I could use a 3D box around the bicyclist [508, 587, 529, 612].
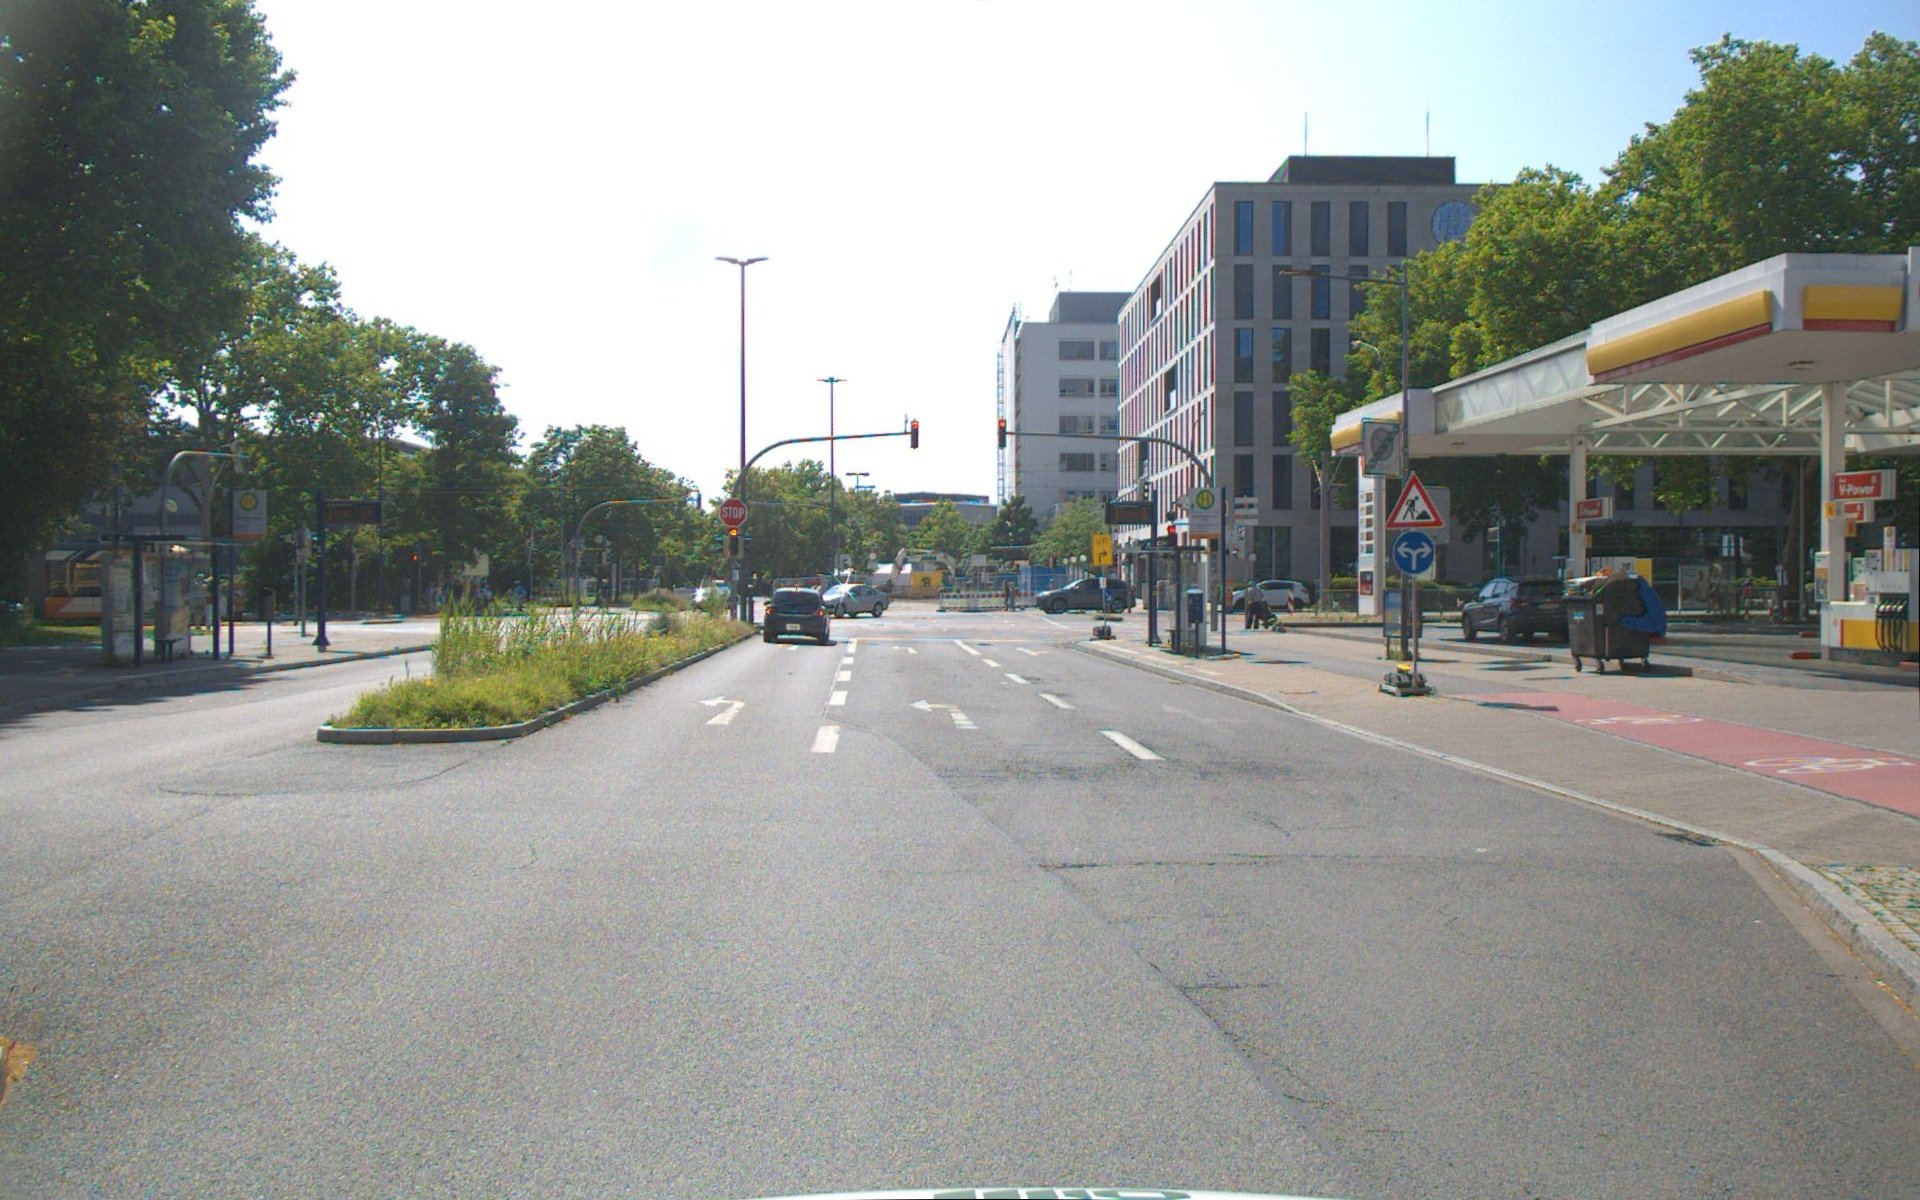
[{"bbox_3d":[-22.820,-0.028,85.426,1.034,1.297,0.491,0,0,-14],"label":"bicyclist"}]

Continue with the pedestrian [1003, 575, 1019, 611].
[{"bbox_3d":[2.966,-0.407,95.914,0.774,2.049,0.540,0,0,-13],"label":"pedestrian"}]

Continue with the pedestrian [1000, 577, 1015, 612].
[{"bbox_3d":[2.757,-0.342,96.633,0.774,2.049,0.540,0,0,-13],"label":"pedestrian"}]

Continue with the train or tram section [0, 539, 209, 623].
[{"bbox_3d":[-35.634,-0.787,68.696,7.407,3.390,3.116,0,0,-5],"label":"train or tram section"}]

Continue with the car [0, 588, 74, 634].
[{"bbox_3d":[-29.950,0.335,51.893,3.431,1.401,1.636,0,0,-6],"label":"car"}]

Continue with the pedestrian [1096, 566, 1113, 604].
[{"bbox_3d":[8.035,-0.835,91.953,0.762,2.049,0.776,0,0,25],"label":"pedestrian"}]

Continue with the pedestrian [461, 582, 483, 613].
[{"bbox_3d":[-25.774,-0.119,87.370,0.652,1.639,0.942,0,0,20],"label":"pedestrian"}]

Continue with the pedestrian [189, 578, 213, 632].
[{"bbox_3d":[-24.861,0.171,54.175,0.649,1.756,0.748,0,0,-21],"label":"pedestrian"}]

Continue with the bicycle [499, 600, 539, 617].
[{"bbox_3d":[-22.789,0.431,85.425,1.966,0.899,0.525,0,0,-14],"label":"bicycle"}]

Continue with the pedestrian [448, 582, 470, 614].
[{"bbox_3d":[-26.058,-0.114,86.057,0.640,1.639,0.942,0,0,20],"label":"pedestrian"}]

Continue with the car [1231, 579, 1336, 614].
[{"bbox_3d":[16.007,-0.179,81.972,4.759,1.665,1.998,0,0,-5],"label":"car"}]

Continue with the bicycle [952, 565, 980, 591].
[{"bbox_3d":[0.472,-1.717,127.345,2.044,1.996,0.828,1,0,3],"label":"bicycle"}]

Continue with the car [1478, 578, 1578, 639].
[{"bbox_3d":[13.803,0.185,40.356,1.615,1.422,3.644,0,0,7],"label":"car"}]

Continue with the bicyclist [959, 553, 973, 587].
[{"bbox_3d":[0.474,-2.309,127.339,1.047,2.619,0.828,1,0,3],"label":"bicyclist"}]

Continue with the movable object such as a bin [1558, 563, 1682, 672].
[{"bbox_3d":[10.443,0.262,26.218,1.282,1.620,1.394,-3,0,-6],"label":"movable object such as a bin"}]

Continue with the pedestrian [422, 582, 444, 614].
[{"bbox_3d":[-27.649,-0.116,86.765,0.640,1.639,0.942,0,0,20],"label":"pedestrian"}]

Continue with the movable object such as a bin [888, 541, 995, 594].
[{"bbox_3d":[-1.674,-2.875,148.093,9.479,4.629,3.163,0,0,-2],"label":"movable object such as a bin"}]

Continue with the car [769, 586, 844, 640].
[{"bbox_3d":[-4.238,0.317,45.456,1.955,1.422,3.995,0,0,-6],"label":"car"}]

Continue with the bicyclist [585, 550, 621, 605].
[{"bbox_3d":[-19.736,-1.217,91.458,1.568,2.982,2.352,0,0,-3],"label":"bicyclist"}]

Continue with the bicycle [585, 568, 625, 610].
[{"bbox_3d":[-19.772,-0.622,92.289,1.568,2.308,3.998,0,0,-3],"label":"bicycle"}]

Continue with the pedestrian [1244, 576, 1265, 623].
[{"bbox_3d":[9.875,-0.019,55.525,0.606,1.570,0.461,0,0,-4],"label":"pedestrian"}]

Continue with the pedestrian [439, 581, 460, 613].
[{"bbox_3d":[-26.766,-0.155,86.738,0.640,1.639,0.942,0,0,20],"label":"pedestrian"}]

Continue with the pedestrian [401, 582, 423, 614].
[{"bbox_3d":[-28.615,-0.111,86.315,0.640,1.639,0.942,0,0,20],"label":"pedestrian"}]

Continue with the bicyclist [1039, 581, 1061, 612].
[{"bbox_3d":[5.094,-0.211,93.190,1.213,1.702,0.525,0,0,5],"label":"bicyclist"}]

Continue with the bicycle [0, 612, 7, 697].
[{"bbox_3d":[-13.771,0.733,21.972,1.808,1.142,0.693,0,0,-2],"label":"bicycle"}]

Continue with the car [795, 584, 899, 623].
[{"bbox_3d":[-4.954,0.121,73.038,4.362,1.667,1.968,-1,1,-44],"label":"car"}]

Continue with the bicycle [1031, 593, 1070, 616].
[{"bbox_3d":[5.086,0.245,93.181,2.182,1.307,0.525,0,0,5],"label":"bicycle"}]

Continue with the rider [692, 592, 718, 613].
[{"bbox_3d":[-15.382,0.145,99.925,1.364,1.216,2.695,0,0,-5],"label":"rider"}]

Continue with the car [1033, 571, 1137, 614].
[{"bbox_3d":[6.060,-0.351,80.456,4.760,2.049,1.998,0,0,-5],"label":"car"}]

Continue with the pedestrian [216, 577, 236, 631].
[{"bbox_3d":[-24.175,0.125,54.471,0.558,1.756,0.729,0,0,-21],"label":"pedestrian"}]
